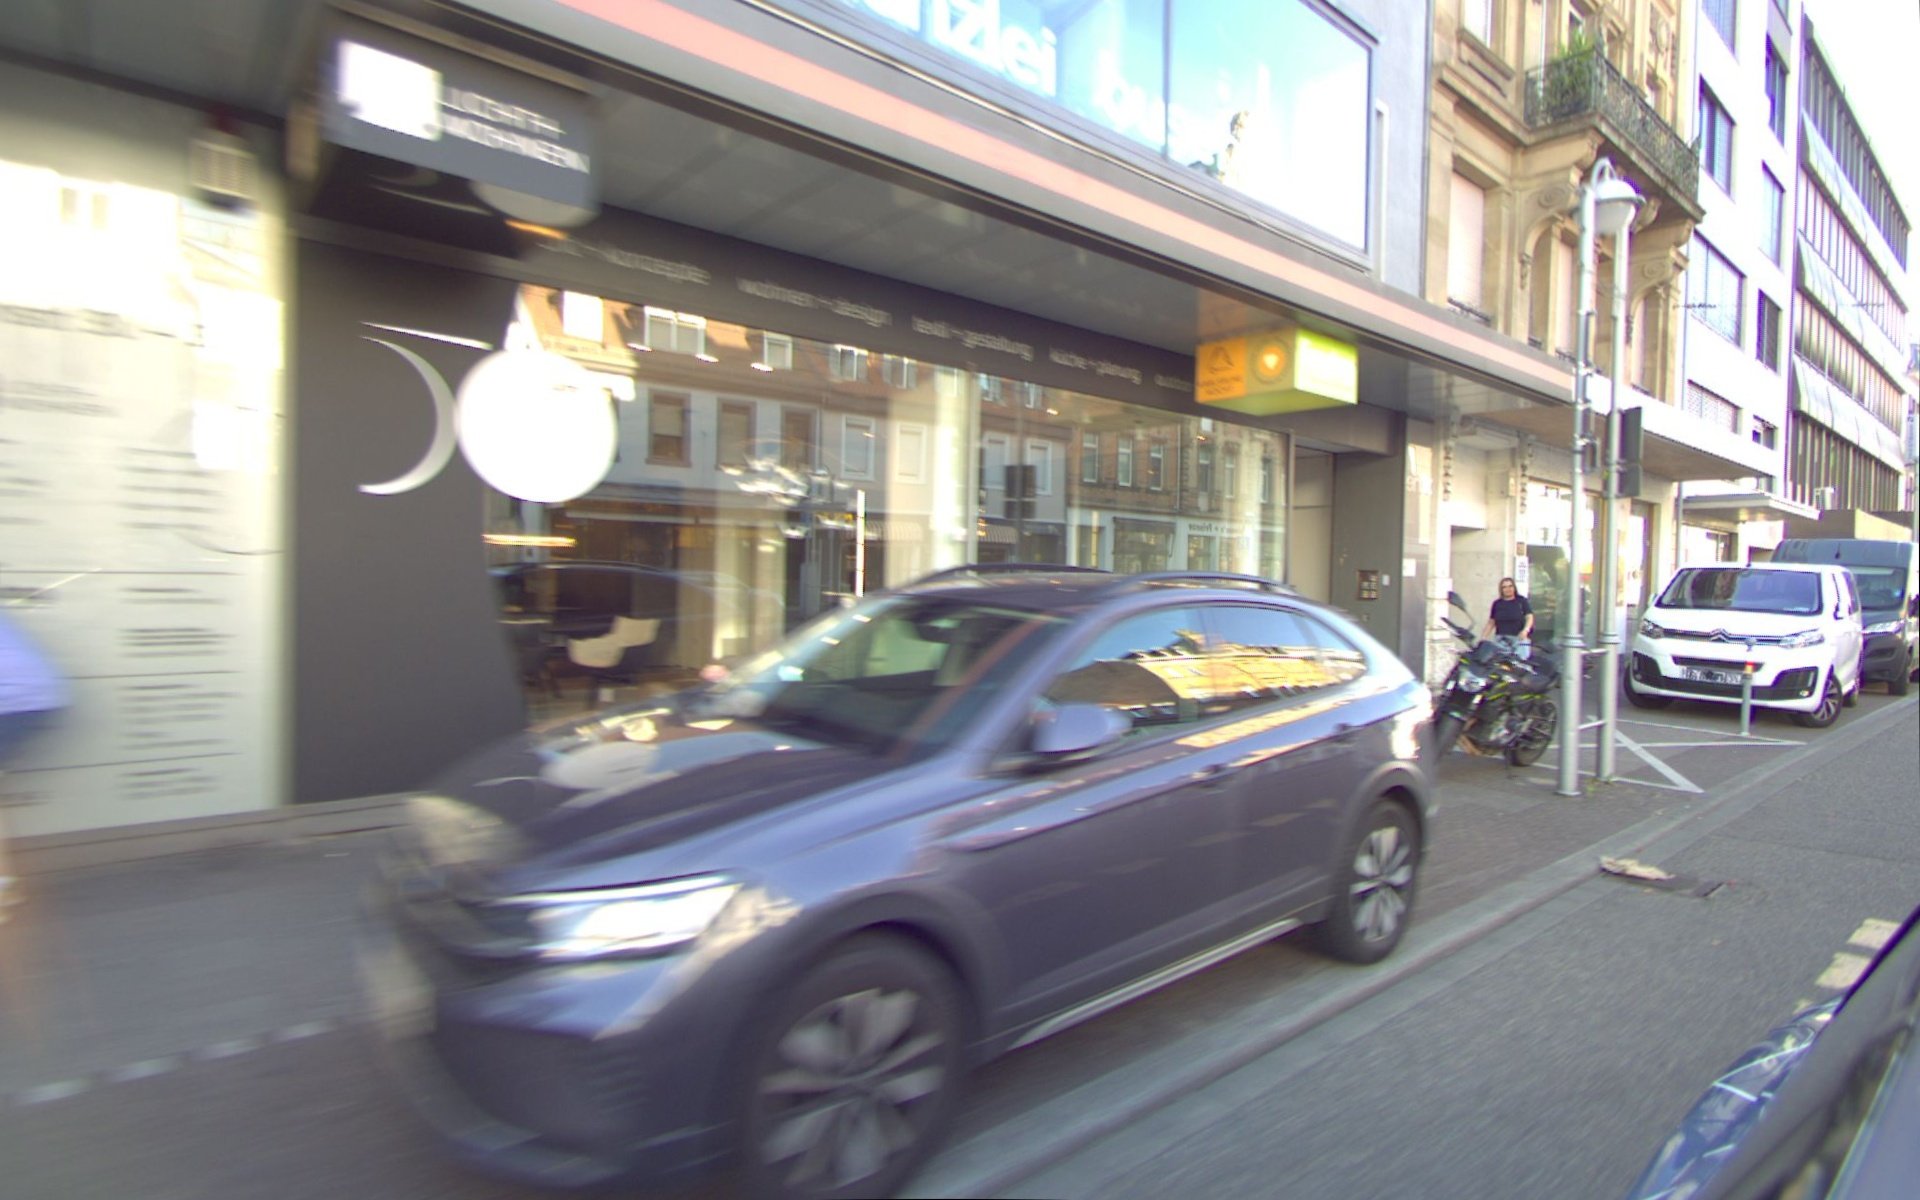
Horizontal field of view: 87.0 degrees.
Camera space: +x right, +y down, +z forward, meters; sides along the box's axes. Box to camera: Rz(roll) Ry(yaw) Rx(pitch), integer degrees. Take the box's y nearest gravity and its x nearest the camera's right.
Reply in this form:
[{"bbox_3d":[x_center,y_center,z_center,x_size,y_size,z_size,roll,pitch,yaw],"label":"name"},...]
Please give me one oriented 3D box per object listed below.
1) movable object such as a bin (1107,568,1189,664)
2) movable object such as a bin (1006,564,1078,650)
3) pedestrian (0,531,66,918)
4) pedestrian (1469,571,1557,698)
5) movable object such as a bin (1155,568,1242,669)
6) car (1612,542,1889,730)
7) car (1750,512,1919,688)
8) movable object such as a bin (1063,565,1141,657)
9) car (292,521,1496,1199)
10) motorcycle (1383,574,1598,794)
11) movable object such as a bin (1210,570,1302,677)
[{"bbox_3d":[2.823,0.217,15.242,0.787,1.377,0.881,0,2,-41],"label":"movable object such as a bin"},{"bbox_3d":[1.368,0.098,16.960,0.787,1.377,0.881,0,2,-41],"label":"movable object such as a bin"},{"bbox_3d":[-3.945,0.463,3.908,0.718,1.457,0.577,0,4,-41],"label":"pedestrian"},{"bbox_3d":[6.985,0.414,12.782,0.800,1.526,0.696,0,2,-41],"label":"pedestrian"},{"bbox_3d":[3.418,0.244,14.530,0.787,1.377,0.881,0,2,-41],"label":"movable object such as a bin"},{"bbox_3d":[10.149,0.299,12.839,4.798,1.933,2.049,-1,3,-44],"label":"car"},{"bbox_3d":[15.250,0.053,17.108,5.587,2.533,2.049,2,-1,-42],"label":"car"},{"bbox_3d":[2.230,0.159,15.932,0.787,1.377,0.881,0,2,-41],"label":"movable object such as a bin"},{"bbox_3d":[0.179,0.601,3.727,4.214,1.596,1.767,-1,4,-42],"label":"car"},{"bbox_3d":[4.119,0.544,7.763,2.283,1.449,0.660,-1,3,-42],"label":"motorcycle"},{"bbox_3d":[4.043,0.302,13.847,0.787,1.377,0.881,0,2,-41],"label":"movable object such as a bin"}]
